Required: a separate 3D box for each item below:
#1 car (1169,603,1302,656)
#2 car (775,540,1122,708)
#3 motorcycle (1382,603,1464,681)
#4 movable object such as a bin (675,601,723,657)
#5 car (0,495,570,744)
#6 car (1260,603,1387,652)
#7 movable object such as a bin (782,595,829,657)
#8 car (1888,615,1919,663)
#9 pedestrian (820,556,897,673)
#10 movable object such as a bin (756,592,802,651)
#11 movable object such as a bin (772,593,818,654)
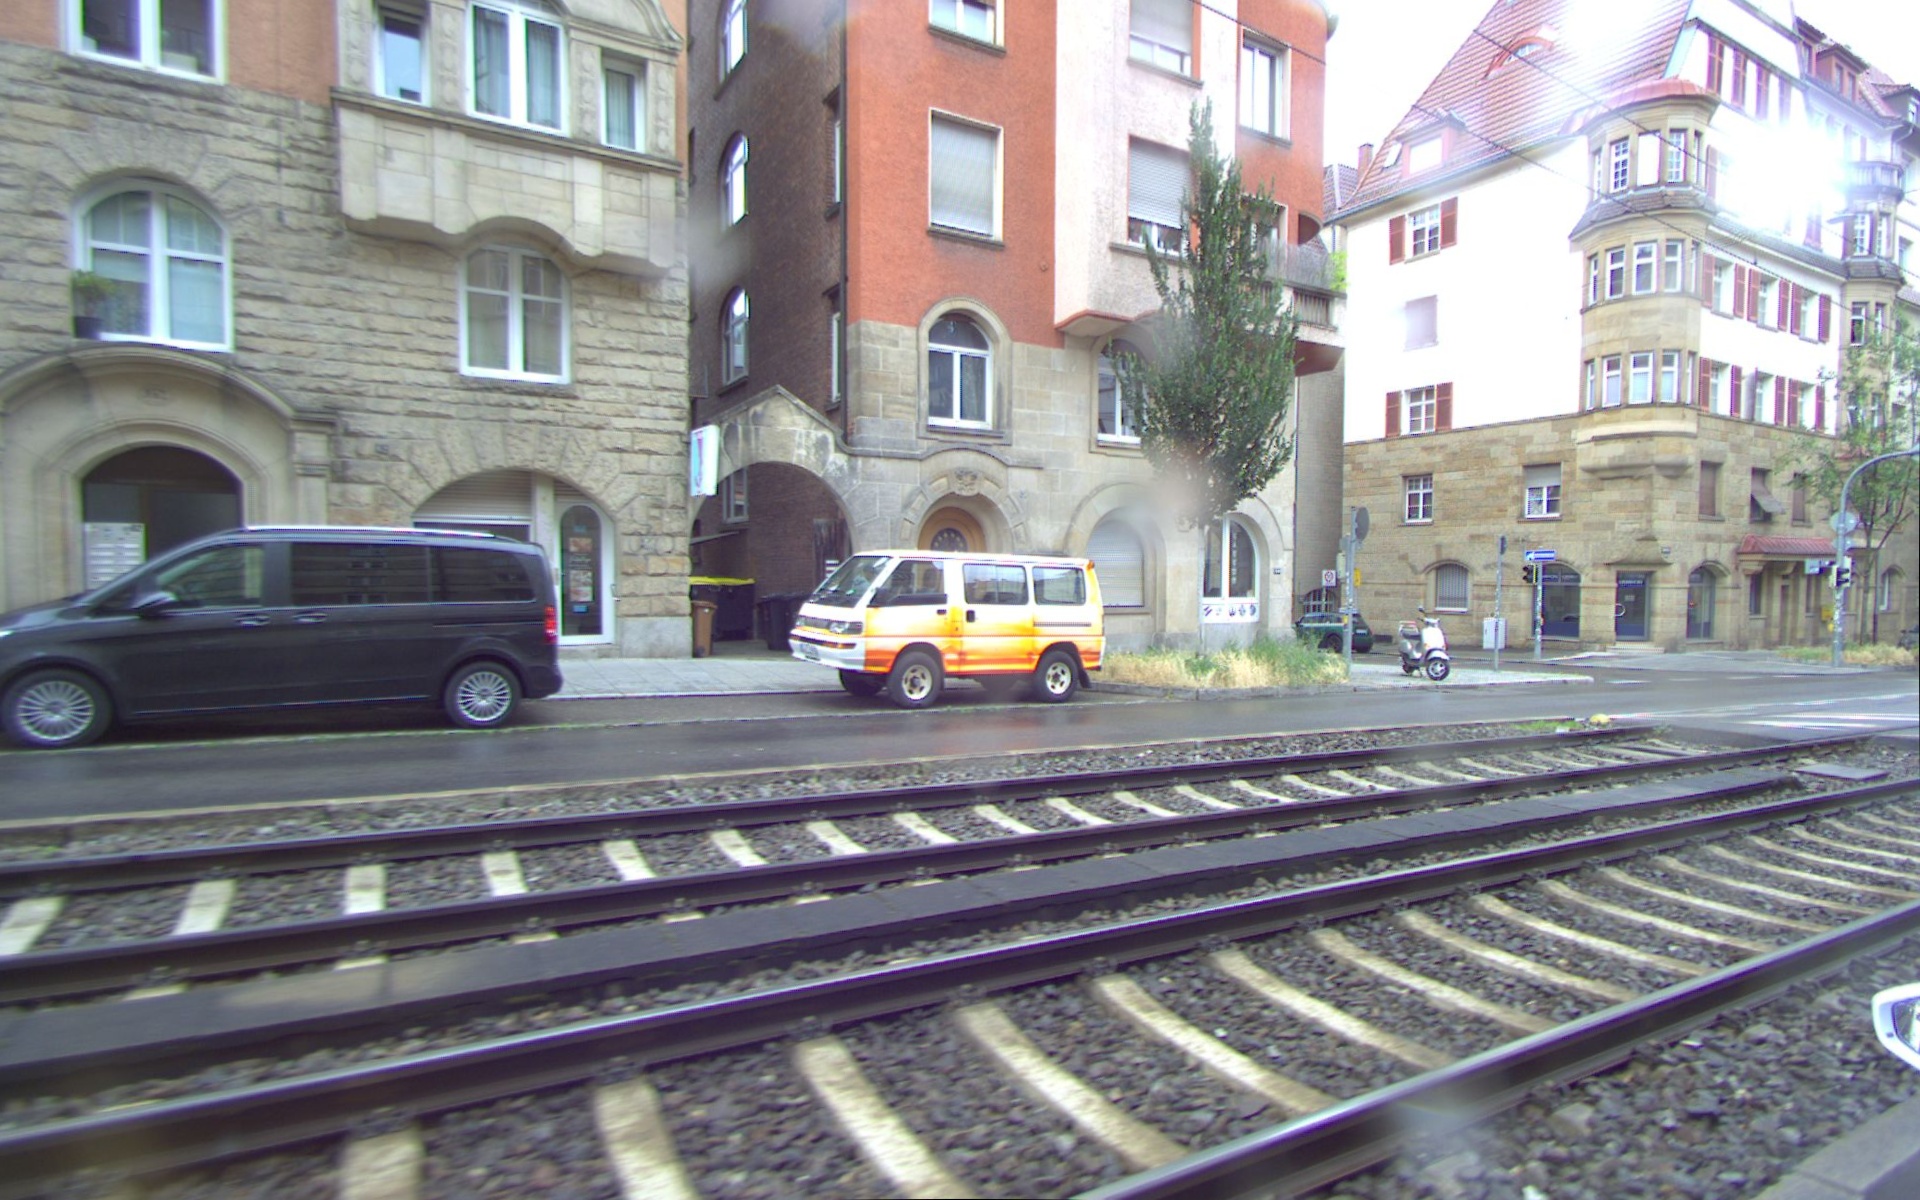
[{"bbox_3d":[8.517,0.900,31.370,1.726,1.486,3.968,2,0,-30],"label":"car"},{"bbox_3d":[-0.084,0.337,13.603,4.426,1.956,1.719,2,0,-32],"label":"car"},{"bbox_3d":[8.809,0.774,19.200,0.752,1.393,1.785,2,0,2],"label":"motorcycle"},{"bbox_3d":[-4.342,0.480,16.694,0.647,0.910,0.544,2,0,-27],"label":"movable object such as a bin"},{"bbox_3d":[-6.452,0.198,9.635,4.777,1.956,1.896,2,0,-31],"label":"car"},{"bbox_3d":[13.207,0.978,36.710,1.979,1.595,3.963,2,0,-33],"label":"car"},{"bbox_3d":[-2.720,0.456,17.670,0.648,1.058,0.545,2,0,-29],"label":"movable object such as a bin"},{"bbox_3d":[32.786,1.326,33.503,4.130,1.549,1.680,2,0,-32],"label":"car"},{"bbox_3d":[-1.613,0.223,15.893,0.882,1.743,0.713,2,6,-30],"label":"pedestrian"},{"bbox_3d":[-3.369,0.391,18.671,0.648,1.058,0.676,2,0,-29],"label":"movable object such as a bin"},{"bbox_3d":[-2.988,0.422,18.163,0.648,1.058,0.545,2,0,-29],"label":"movable object such as a bin"}]
